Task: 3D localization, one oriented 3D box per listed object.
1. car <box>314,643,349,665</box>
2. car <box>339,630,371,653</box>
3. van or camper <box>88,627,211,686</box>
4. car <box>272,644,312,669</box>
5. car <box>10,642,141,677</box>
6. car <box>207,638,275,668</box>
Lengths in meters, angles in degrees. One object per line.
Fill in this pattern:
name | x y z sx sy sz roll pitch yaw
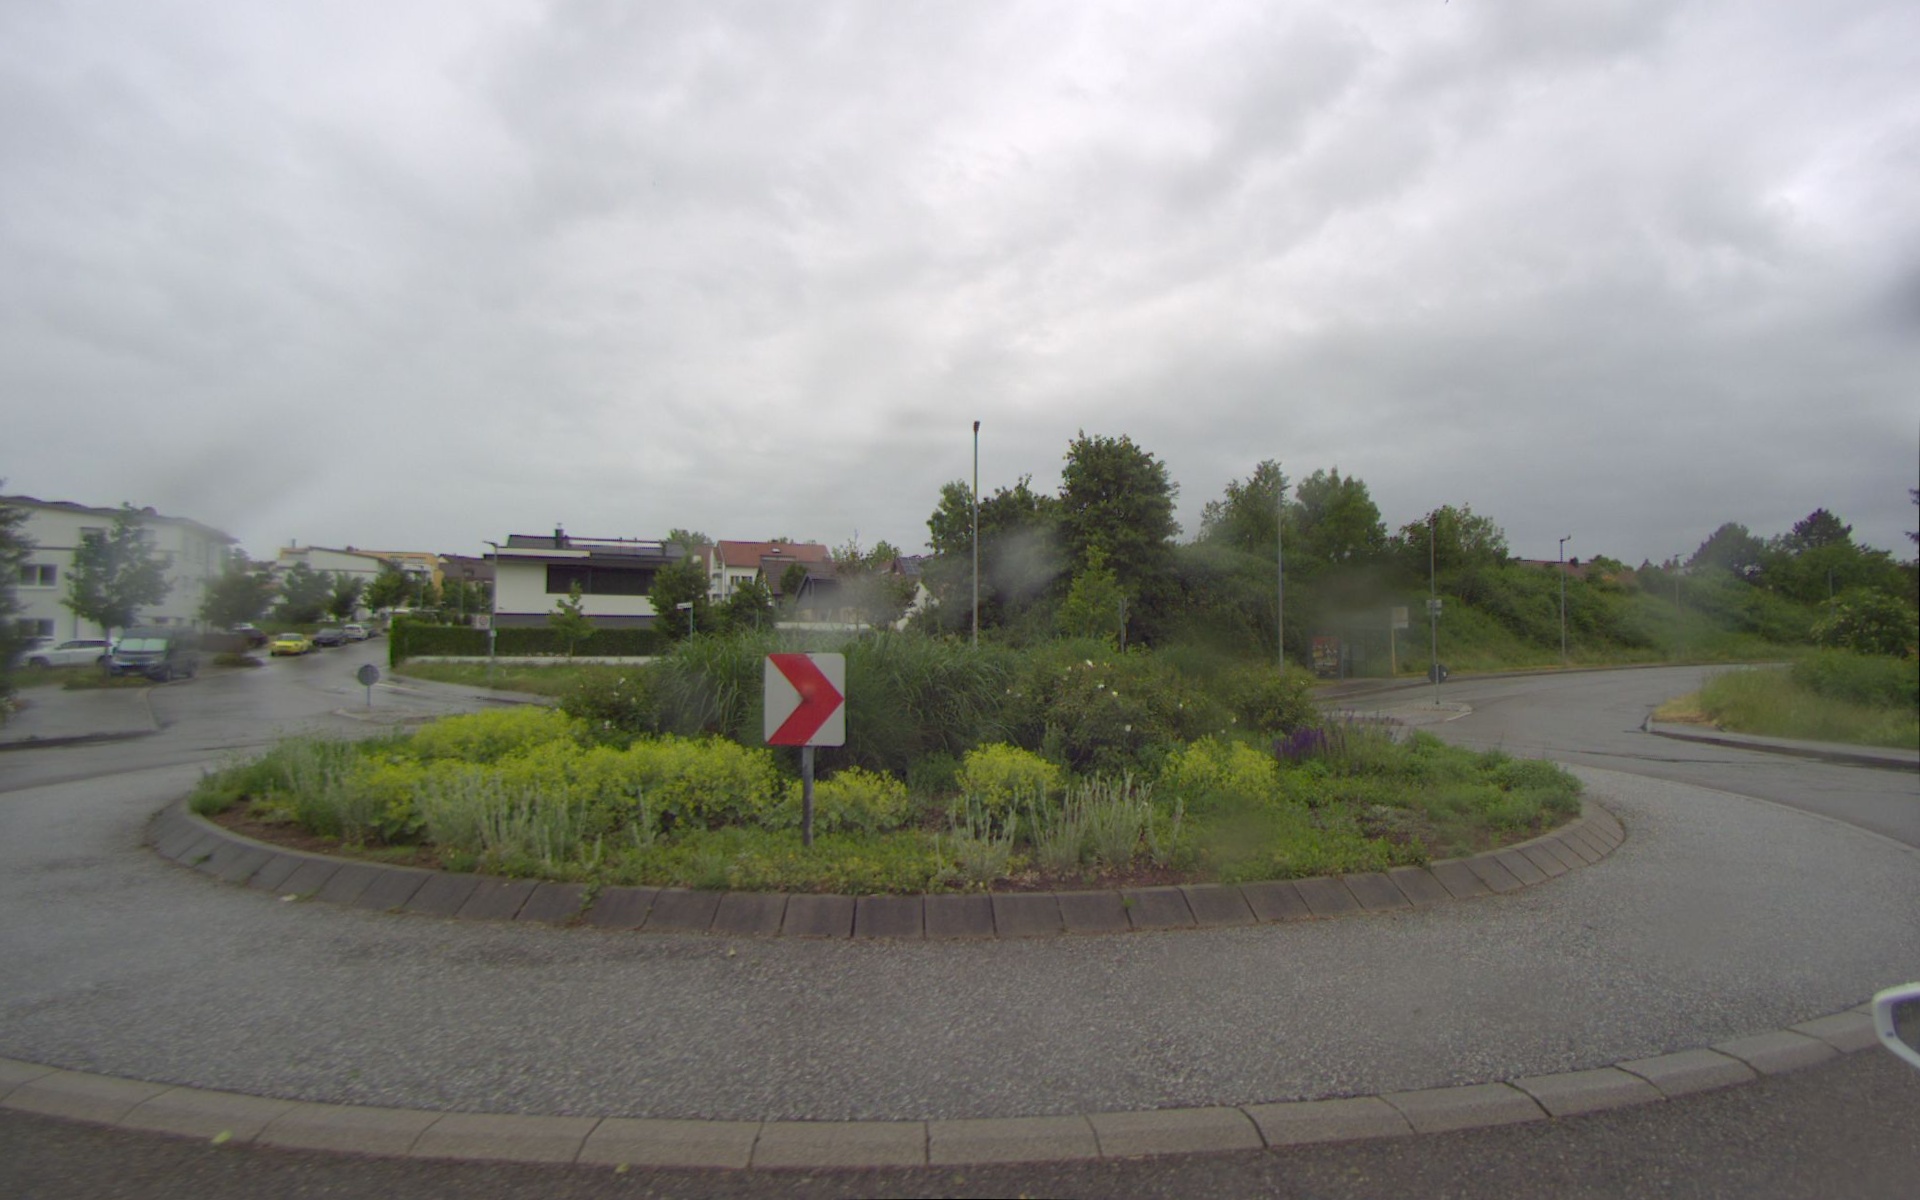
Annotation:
car | -51.941 4.441 83.071 1.850 1.756 3.977 2 -3 -24
car | -56.219 3.852 93.461 1.972 2.040 3.978 2 -3 -23
van or camper | -37.326 2.586 46.498 2.494 2.526 6.180 2 -3 -21
car | -47.057 3.975 70.842 1.662 1.679 3.557 2 -3 -23
car | -45.413 3.044 51.736 4.608 1.770 2.009 1 -3 -25
car | -50.848 3.765 71.128 3.673 2.039 1.742 3 -5 -30
